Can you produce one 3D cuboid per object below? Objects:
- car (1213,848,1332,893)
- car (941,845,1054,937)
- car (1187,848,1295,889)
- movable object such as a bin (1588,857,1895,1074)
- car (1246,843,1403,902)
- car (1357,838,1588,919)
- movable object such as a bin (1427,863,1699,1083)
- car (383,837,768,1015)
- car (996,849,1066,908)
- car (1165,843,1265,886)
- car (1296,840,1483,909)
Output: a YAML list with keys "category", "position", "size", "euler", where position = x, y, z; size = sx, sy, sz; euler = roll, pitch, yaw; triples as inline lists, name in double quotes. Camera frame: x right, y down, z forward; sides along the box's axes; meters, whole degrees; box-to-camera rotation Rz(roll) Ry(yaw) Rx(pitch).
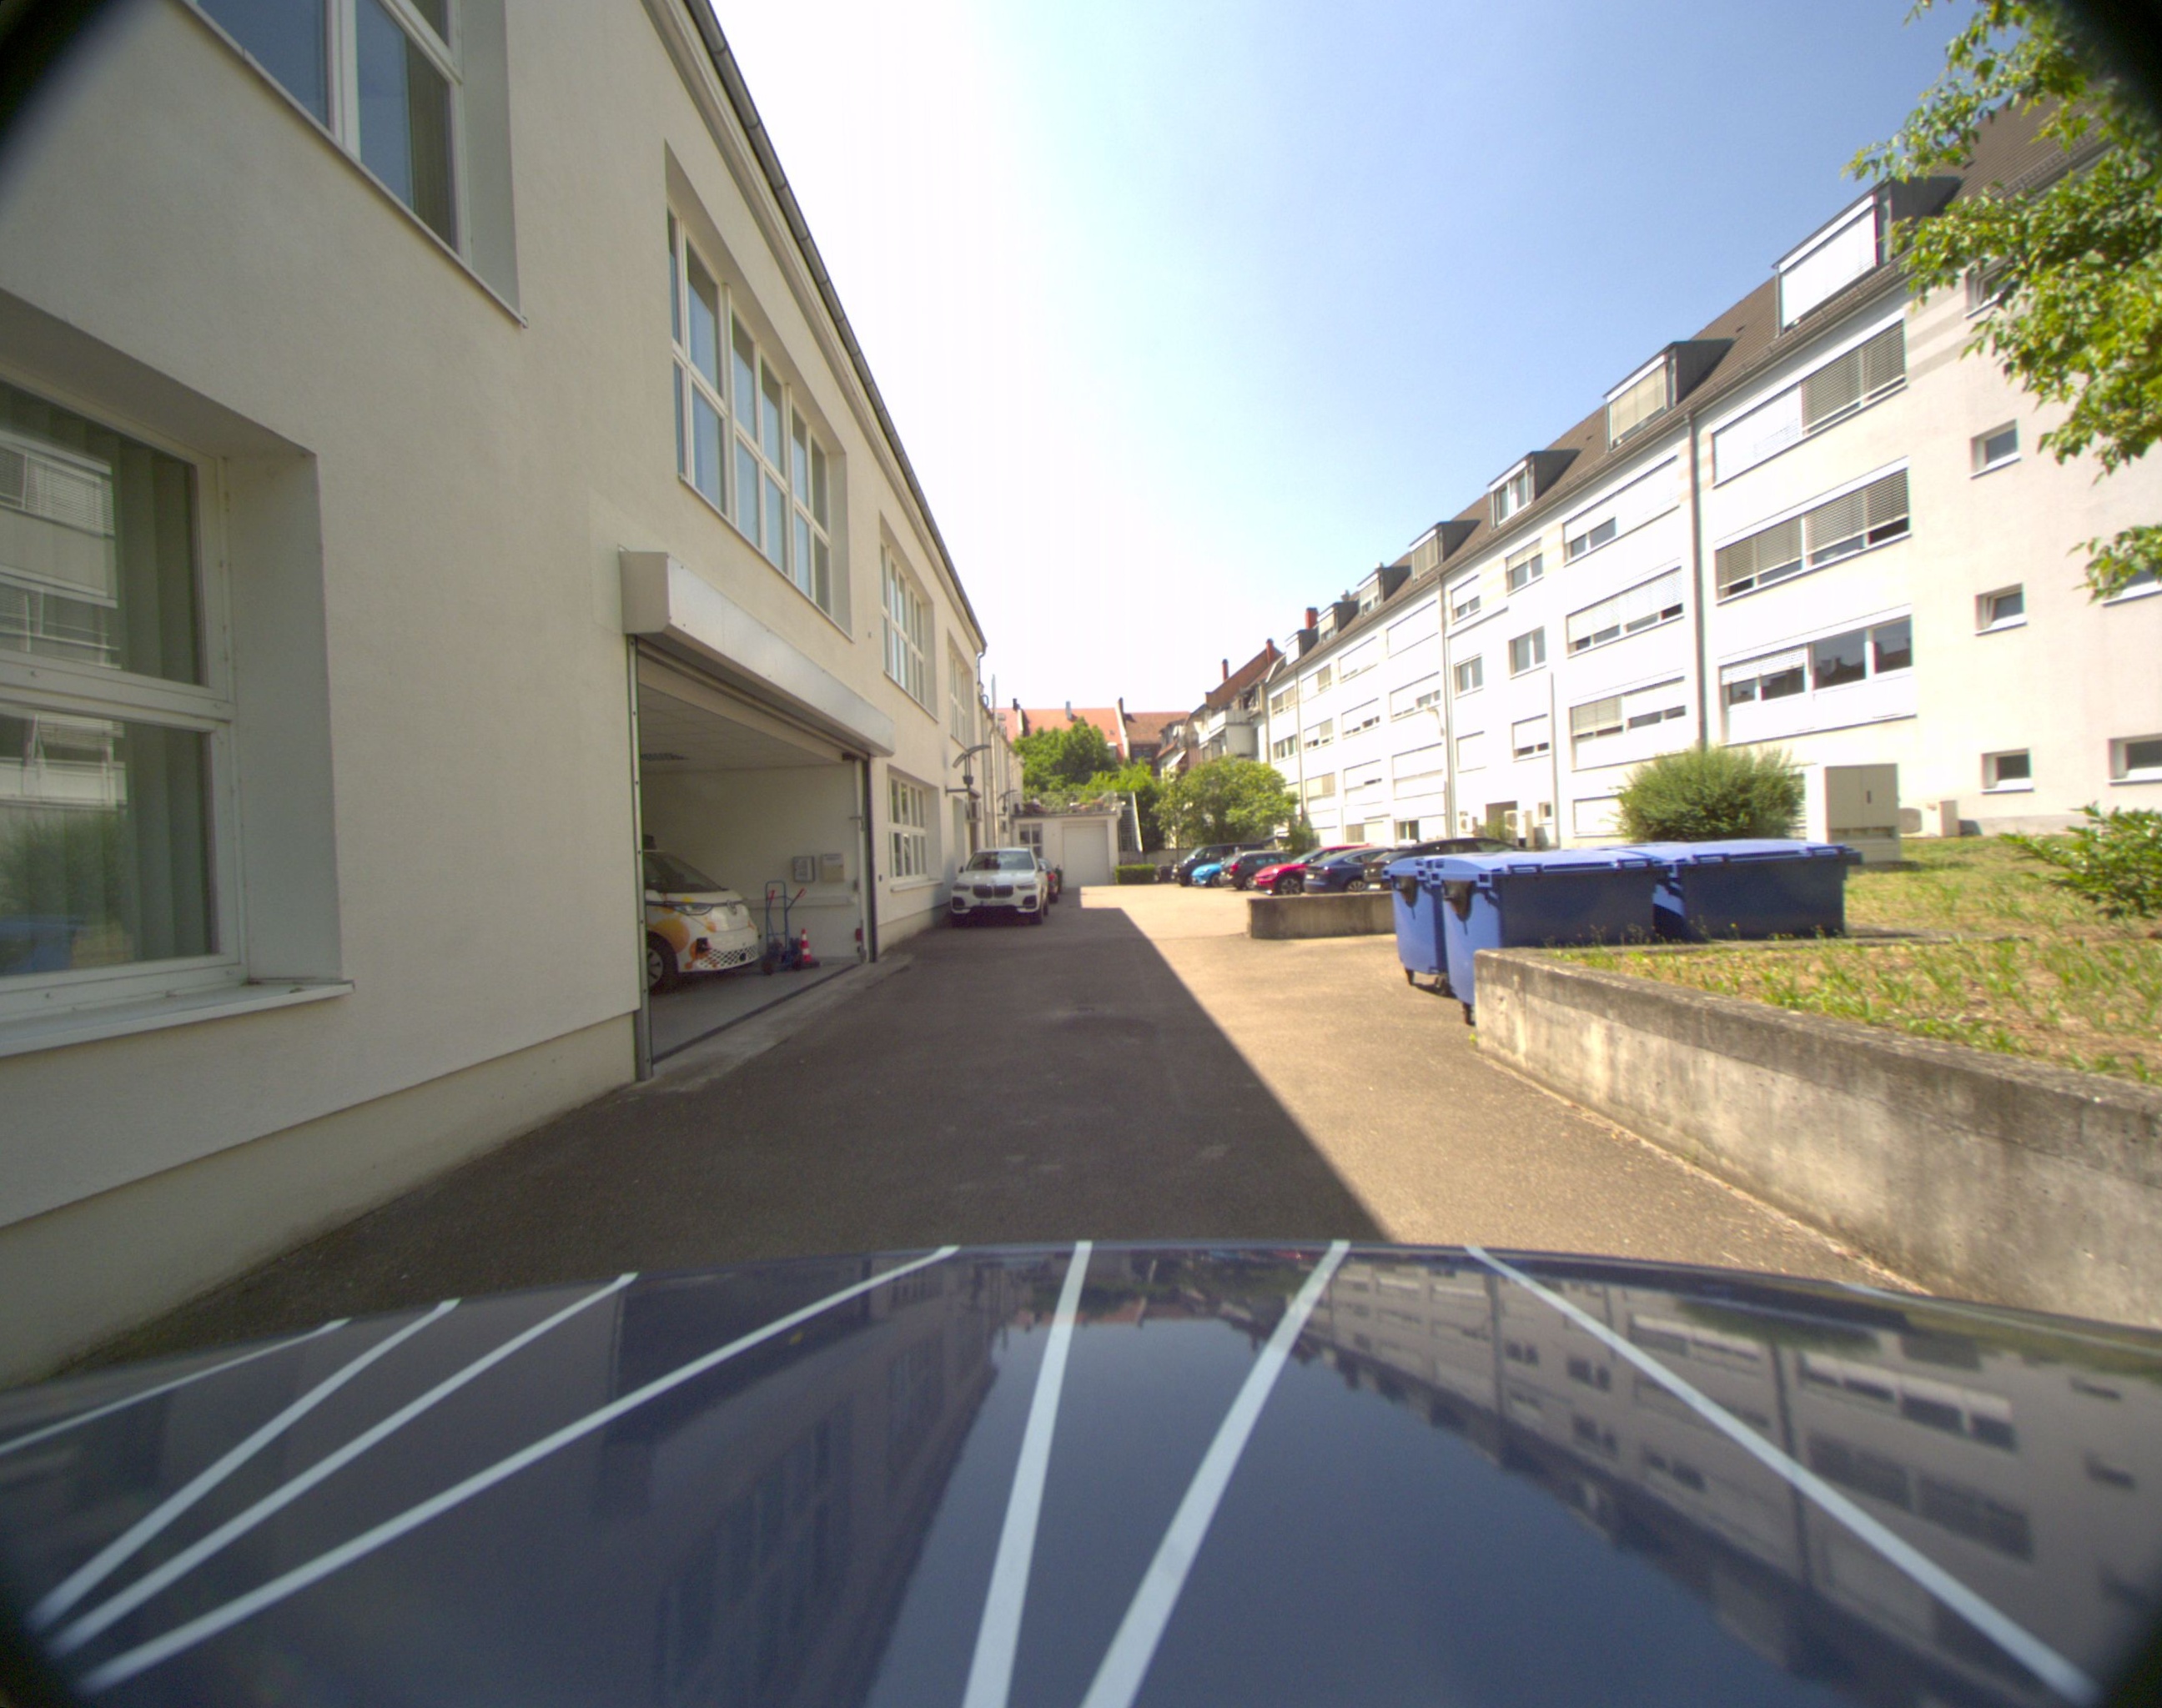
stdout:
- category: "car"
  position: [7.477, 0.607, 29.863]
  size: [4.223, 1.560, 1.612]
  euler: [-2, 1, -5]
- category: "car"
  position: [-1.792, 0.730, 17.853]
  size: [2.011, 1.792, 4.726]
  euler: [-2, 1, 1]
- category: "car"
  position: [6.888, 0.615, 32.926]
  size: [4.223, 1.560, 1.612]
  euler: [-2, 1, -5]
- category: "movable object such as a bin"
  position: [4.727, 0.740, 5.563]
  size: [1.271, 1.380, 1.095]
  euler: [-2, 1, 1]
- category: "car"
  position: [7.388, 0.528, 23.246]
  size: [4.223, 1.560, 1.612]
  euler: [-2, 1, -5]
- category: "car"
  position: [8.787, 0.508, 17.225]
  size: [4.445, 1.560, 1.612]
  euler: [-2, 1, -5]
- category: "movable object such as a bin"
  position: [3.423, 0.791, 5.549]
  size: [1.271, 1.380, 1.095]
  euler: [-2, 1, 1]
- category: "car"
  position: [-6.342, 0.858, 9.807]
  size: [3.836, 2.002, 1.654]
  euler: [-2, 1, 4]
- category: "car"
  position: [-1.640, 0.779, 26.657]
  size: [2.011, 1.792, 4.726]
  euler: [-2, 1, 1]
- category: "car"
  position: [6.285, 0.479, 35.864]
  size: [4.223, 1.812, 2.009]
  euler: [-2, 1, -5]
- category: "car"
  position: [8.020, 0.507, 19.937]
  size: [4.223, 1.560, 1.612]
  euler: [-2, 1, -5]
